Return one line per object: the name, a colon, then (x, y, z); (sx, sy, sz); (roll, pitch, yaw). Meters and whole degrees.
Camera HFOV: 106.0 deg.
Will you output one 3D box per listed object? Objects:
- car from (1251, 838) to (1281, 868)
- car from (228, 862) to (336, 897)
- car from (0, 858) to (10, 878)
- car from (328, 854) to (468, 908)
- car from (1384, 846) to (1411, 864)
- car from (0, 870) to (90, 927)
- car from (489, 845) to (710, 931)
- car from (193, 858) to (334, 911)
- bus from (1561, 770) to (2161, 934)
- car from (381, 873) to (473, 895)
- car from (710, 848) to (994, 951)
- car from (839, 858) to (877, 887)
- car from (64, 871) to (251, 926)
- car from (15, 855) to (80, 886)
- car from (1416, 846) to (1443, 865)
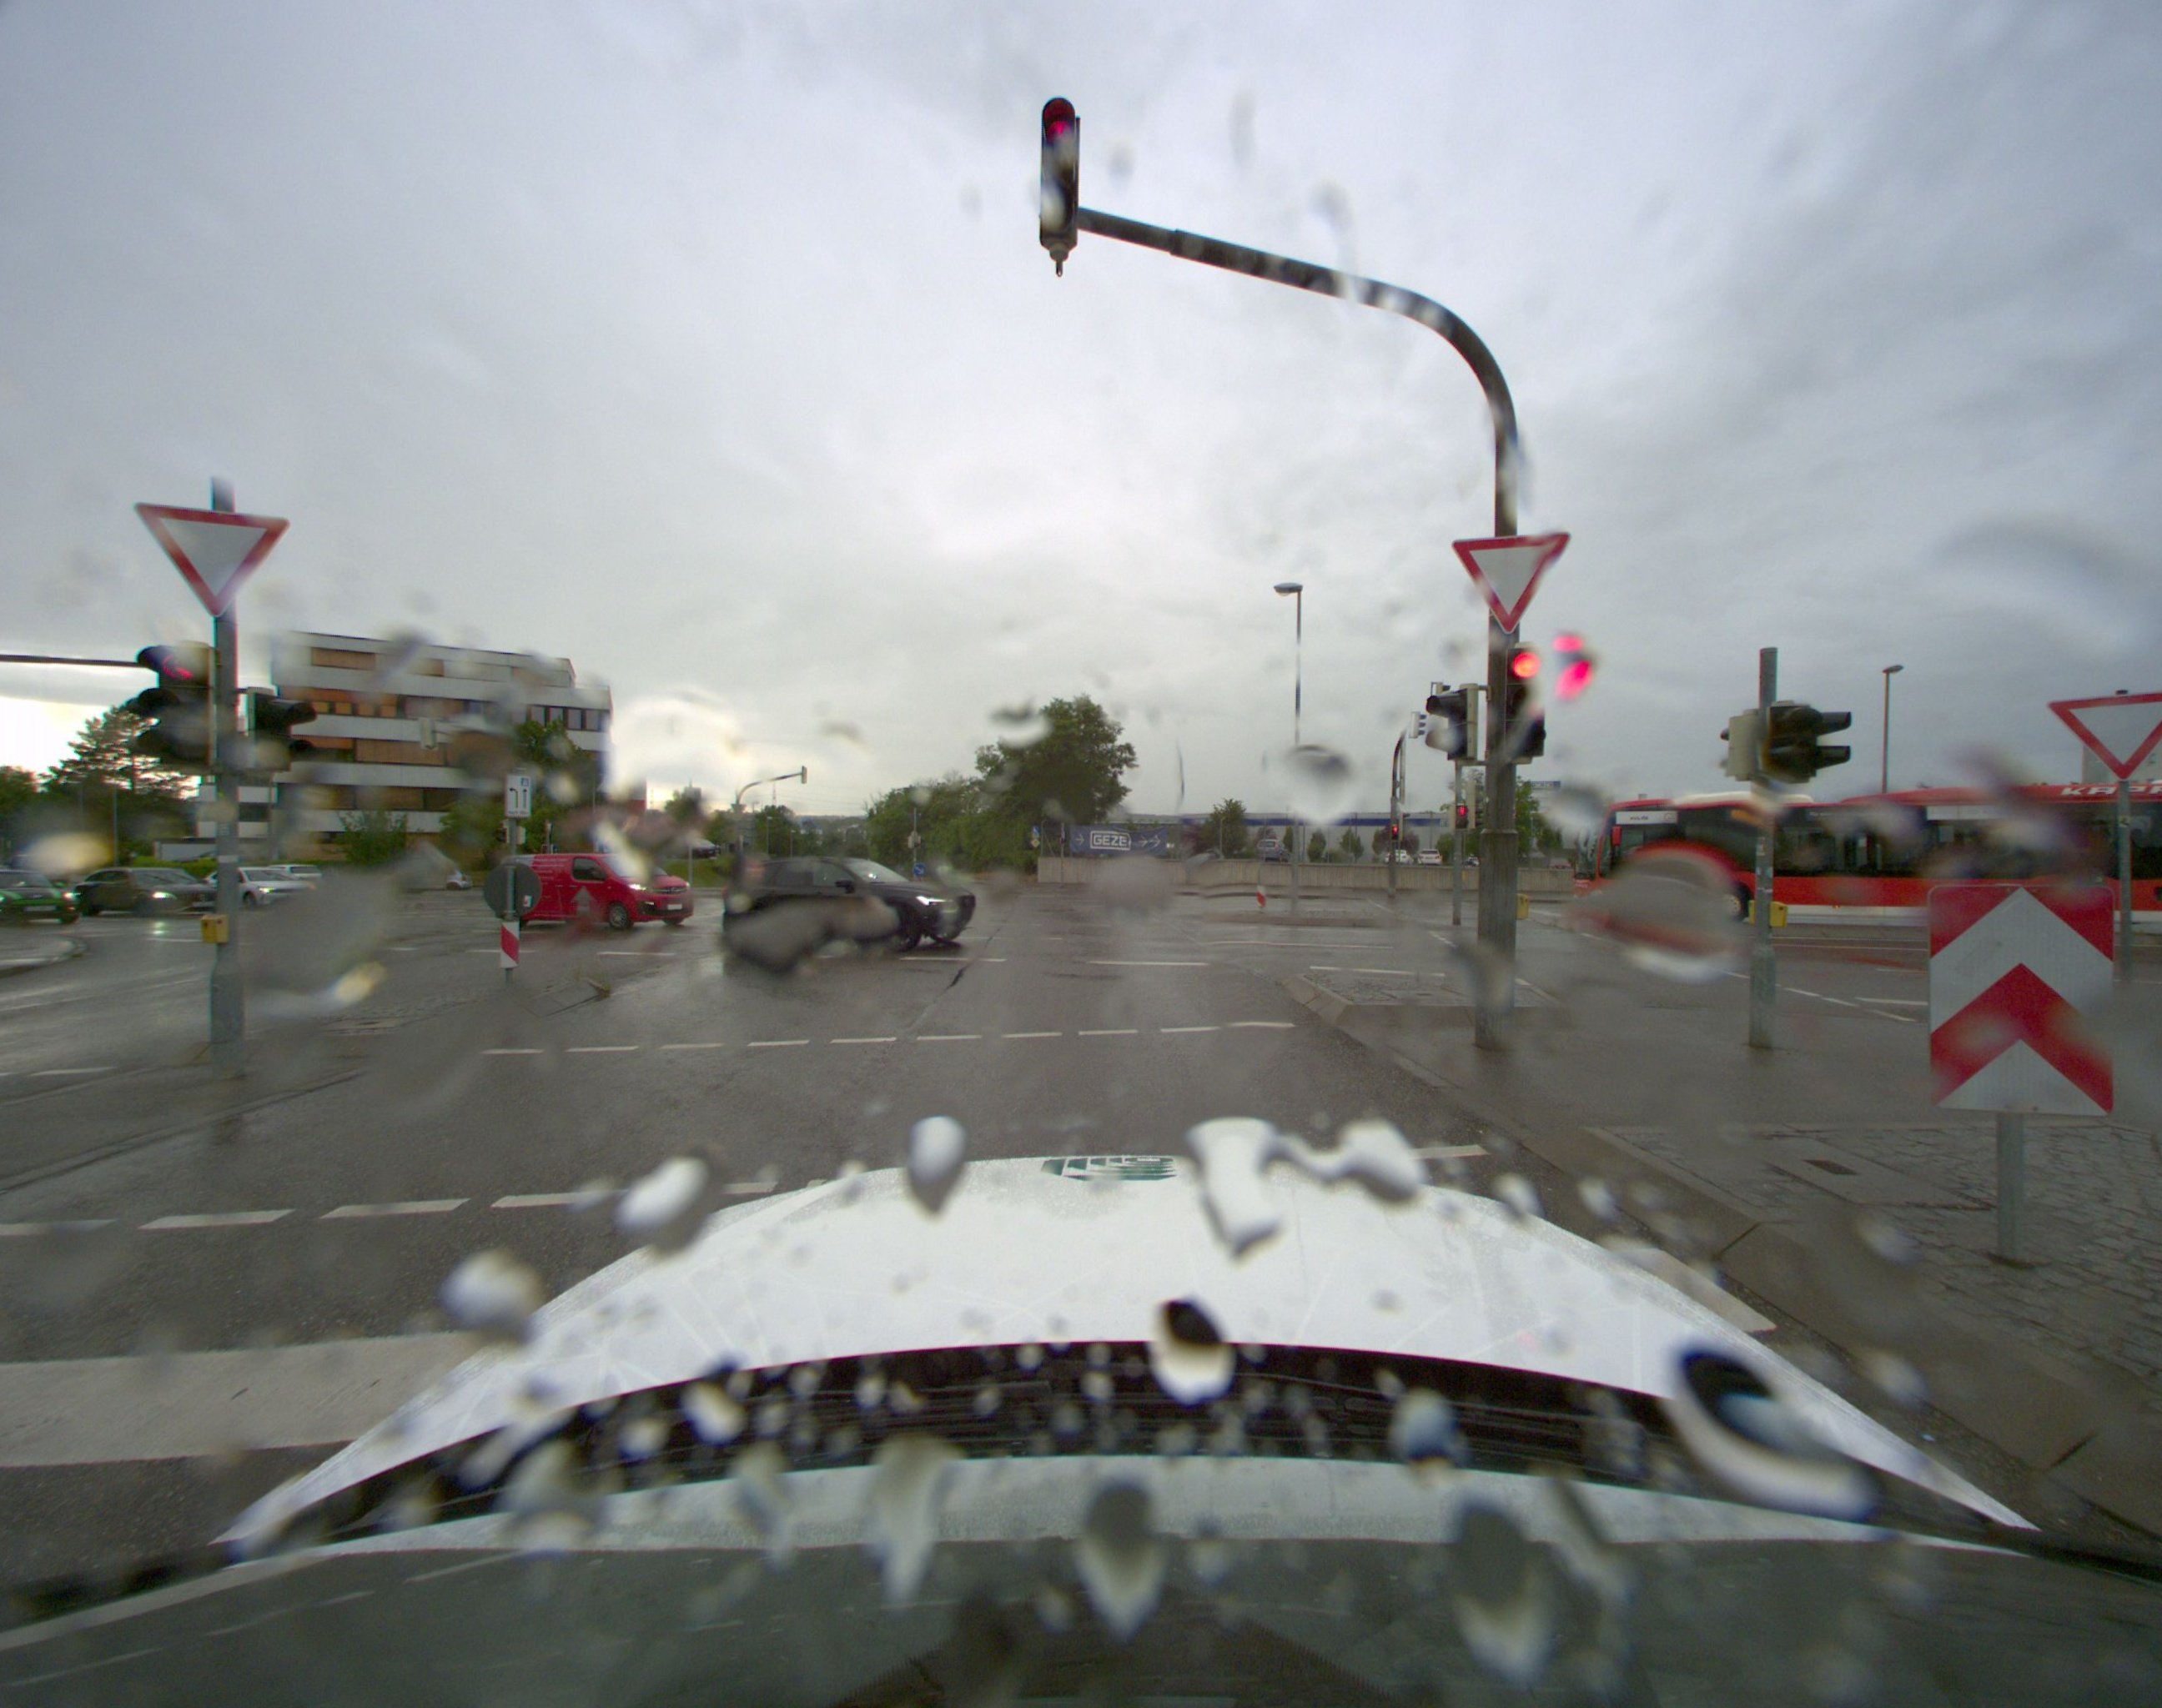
car: (13.099, -0.077, 57.539); (1.979, 2.013, 4.015); (0, 0, 13)
car: (-39.567, 1.232, 40.366); (3.959, 1.596, 1.964); (0, 0, 13)
car: (-107.346, 1.379, 79.857); (2.011, 2.013, 4.951); (0, 0, -44)
car: (-24.931, 0.942, 29.756); (4.108, 1.840, 2.009); (0, 0, 17)
car: (26.385, 0.094, 67.840); (1.976, 1.478, 4.021); (0, 0, 22)
car: (-28.348, 1.136, 21.537); (3.420, 1.387, 1.690); (0, 0, 20)
car: (-12.065, 0.802, 20.495); (4.736, 2.013, 2.008); (0, 0, 15)
car: (-28.392, 1.006, 28.305); (3.953, 1.684, 2.010); (0, 0, 21)
bus: (18.675, -0.125, 19.309); (12.177, 3.321, 3.089); (1, 0, 19)
car: (-35.196, 1.599, 43.963); (3.522, 1.105, 1.805); (0, 0, -26)
car: (-4.134, 0.779, 14.889); (4.581, 1.679, 2.044); (-1, 0, 17)
car: (-13.086, 1.050, 47.955); (1.995, 1.618, 3.983); (0, 0, -13)
car: (-28.183, 1.303, 24.888); (4.623, 1.476, 2.009); (0, 0, 16)
car: (-65.919, 1.029, 51.947); (3.949, 1.849, 2.012); (0, 0, 30)
car: (28.691, 0.102, 67.161); (1.976, 1.478, 4.021); (0, 0, 21)
